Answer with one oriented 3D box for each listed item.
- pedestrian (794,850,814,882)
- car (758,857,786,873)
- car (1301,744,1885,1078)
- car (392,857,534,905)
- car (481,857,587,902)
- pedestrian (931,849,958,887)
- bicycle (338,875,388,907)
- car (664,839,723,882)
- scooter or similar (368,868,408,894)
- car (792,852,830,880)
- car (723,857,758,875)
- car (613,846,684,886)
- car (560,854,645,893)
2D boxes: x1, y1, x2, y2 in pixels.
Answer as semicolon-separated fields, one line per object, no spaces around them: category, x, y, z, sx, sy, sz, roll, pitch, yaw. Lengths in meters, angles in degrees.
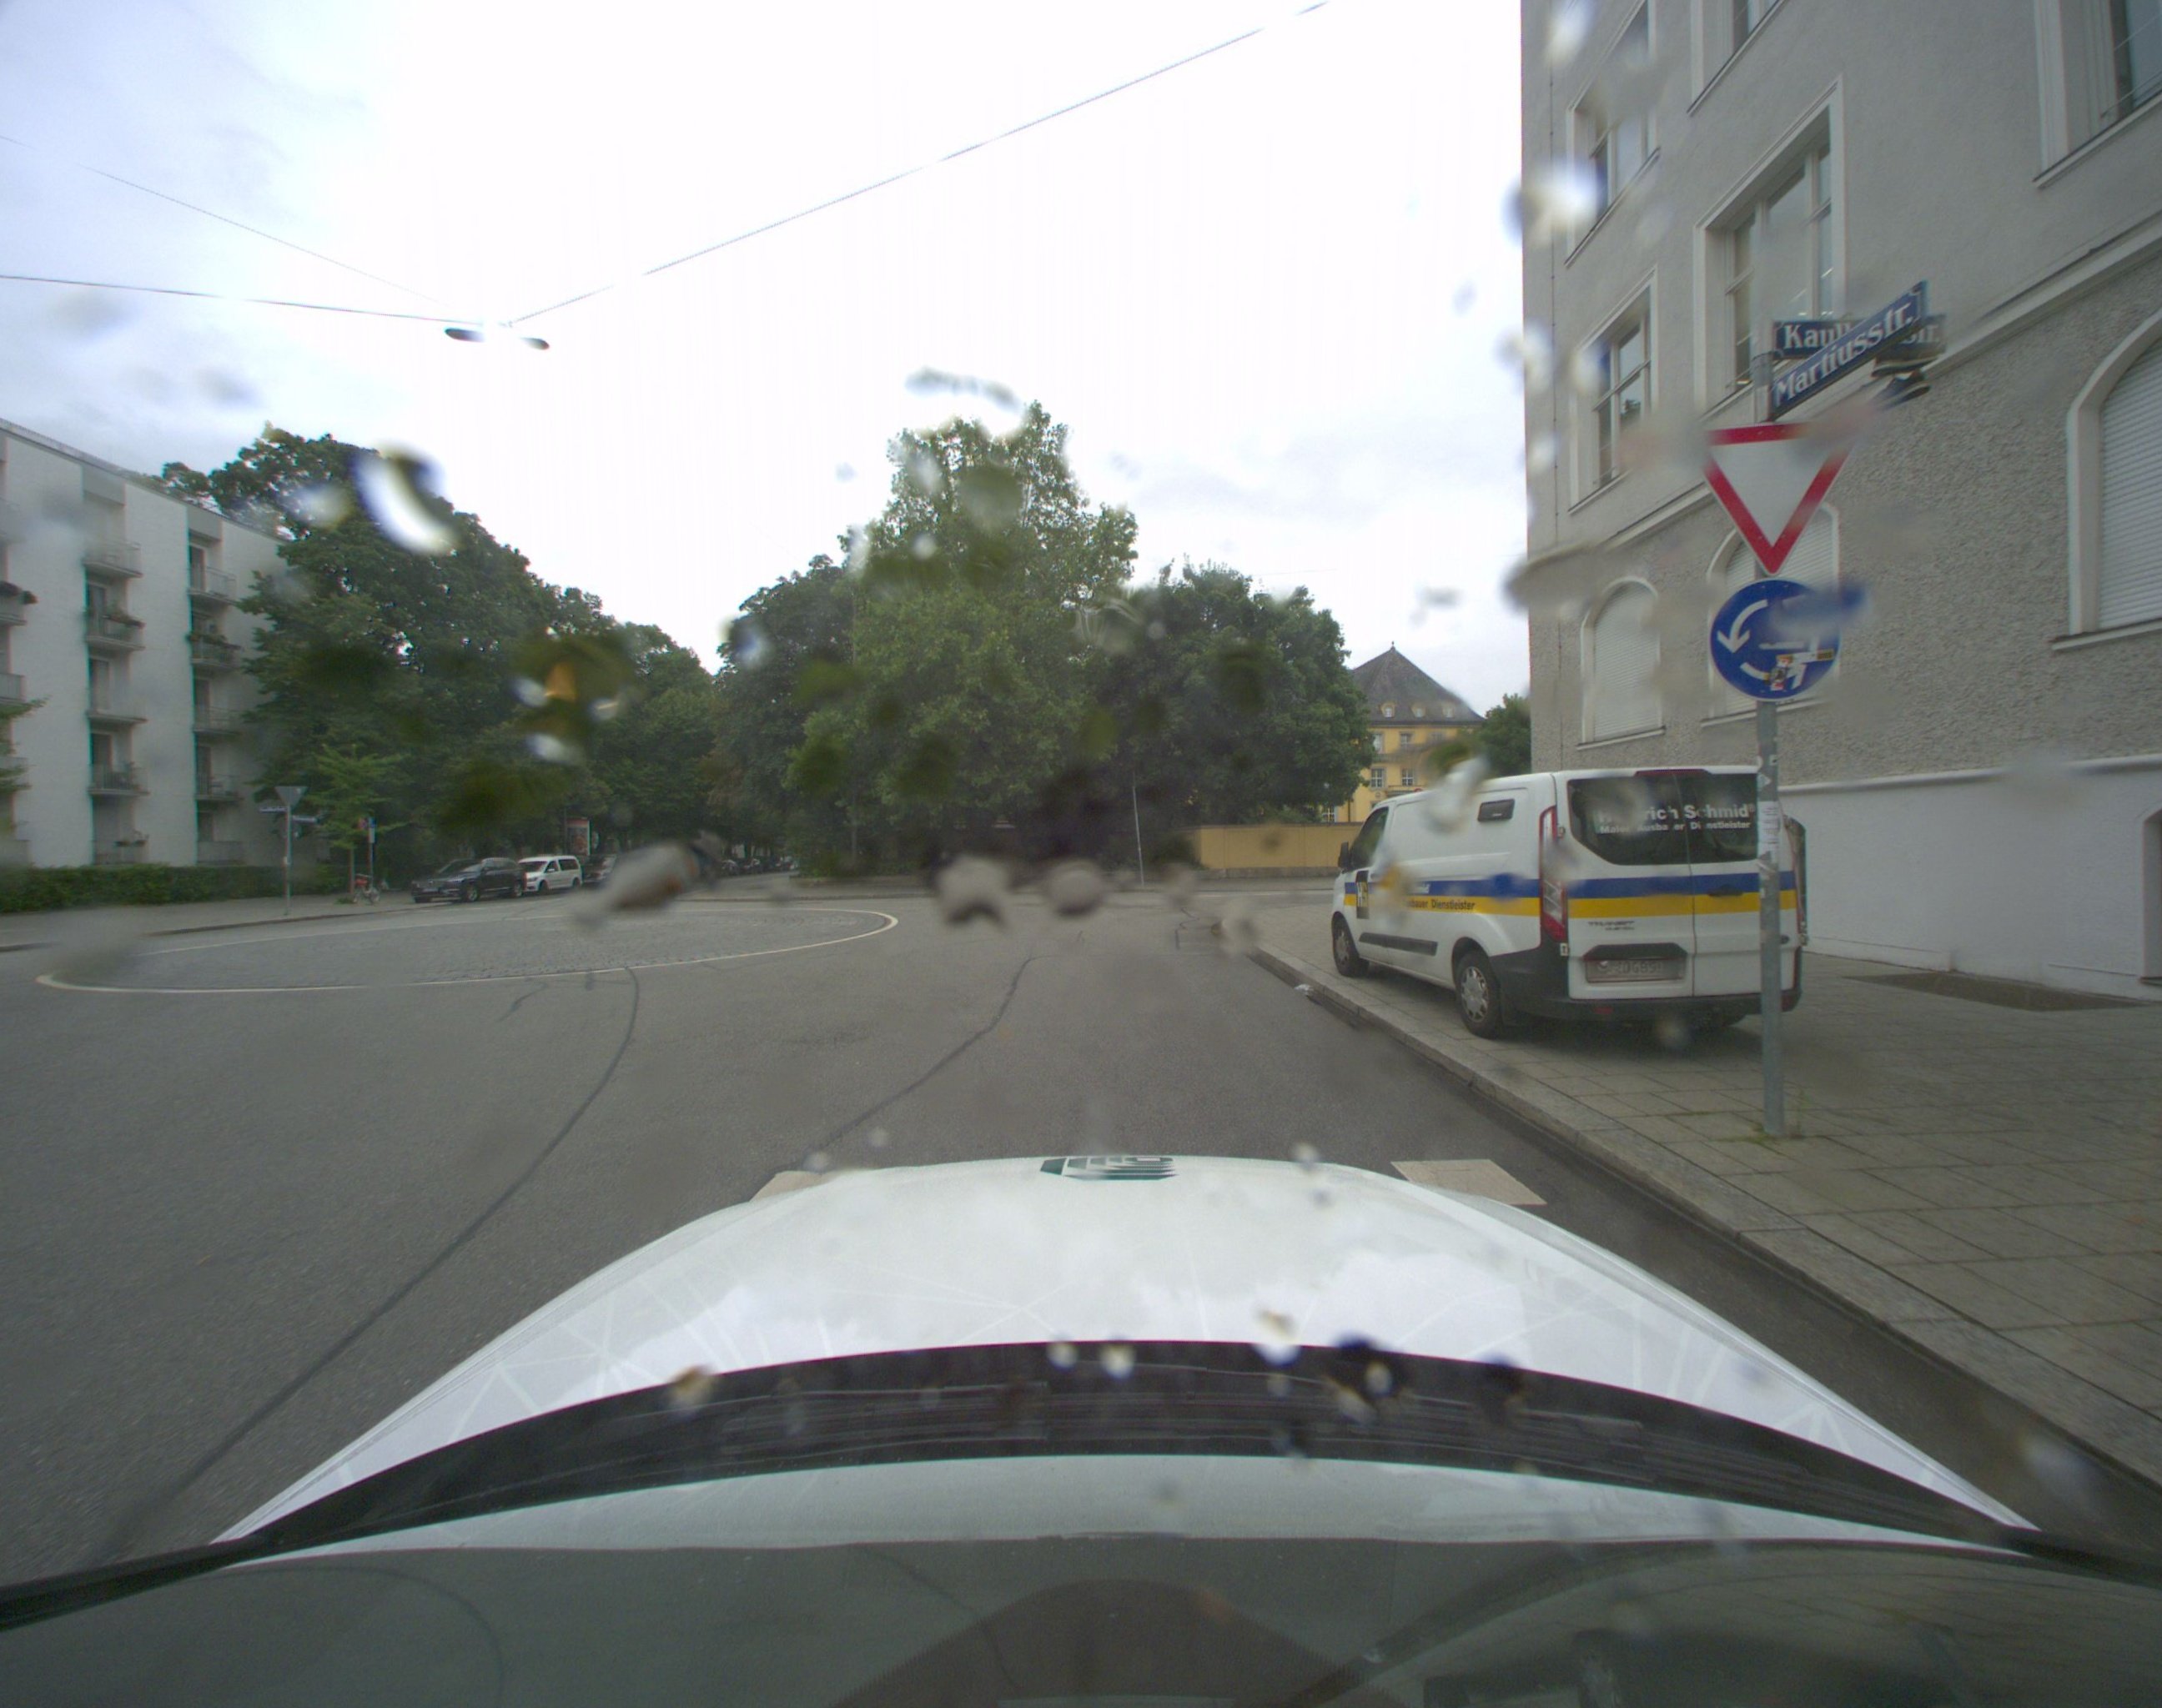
pedestrian;-16.333;0.684;48.004;0.826;1.836;0.942;-2;0;-36
car;-32.333;1.121;85.318;1.994;1.486;4.113;-1;0;-11
car;3.812;0.310;7.569;1.933;1.922;5.372;-2;1;-1
car;-24.786;1.004;32.980;2.081;1.719;5.294;-1;0;-6
car;-25.576;1.113;38.316;2.082;1.903;4.846;-1;0;-7
pedestrian;-5.046;0.514;30.262;0.766;1.356;1.132;-1;0;1
bicycle;-27.085;1.372;30.761;0.753;1.085;1.773;-2;0;-18
car;-28.797;0.474;60.760;2.172;3.002;6.214;-1;0;-9
scooter or similar;-33.486;1.299;39.393;0.701;1.191;1.652;-1;0;-10
car;-19.659;0.862;59.562;1.912;1.937;4.951;-1;0;-10
car;-29.940;1.051;71.761;1.994;1.420;4.113;-1;0;-11
car;-27.492;0.723;51.986;2.082;2.264;5.587;-3;1;-8
car;-26.276;1.002;44.977;2.026;1.908;5.648;-3;1;-10
